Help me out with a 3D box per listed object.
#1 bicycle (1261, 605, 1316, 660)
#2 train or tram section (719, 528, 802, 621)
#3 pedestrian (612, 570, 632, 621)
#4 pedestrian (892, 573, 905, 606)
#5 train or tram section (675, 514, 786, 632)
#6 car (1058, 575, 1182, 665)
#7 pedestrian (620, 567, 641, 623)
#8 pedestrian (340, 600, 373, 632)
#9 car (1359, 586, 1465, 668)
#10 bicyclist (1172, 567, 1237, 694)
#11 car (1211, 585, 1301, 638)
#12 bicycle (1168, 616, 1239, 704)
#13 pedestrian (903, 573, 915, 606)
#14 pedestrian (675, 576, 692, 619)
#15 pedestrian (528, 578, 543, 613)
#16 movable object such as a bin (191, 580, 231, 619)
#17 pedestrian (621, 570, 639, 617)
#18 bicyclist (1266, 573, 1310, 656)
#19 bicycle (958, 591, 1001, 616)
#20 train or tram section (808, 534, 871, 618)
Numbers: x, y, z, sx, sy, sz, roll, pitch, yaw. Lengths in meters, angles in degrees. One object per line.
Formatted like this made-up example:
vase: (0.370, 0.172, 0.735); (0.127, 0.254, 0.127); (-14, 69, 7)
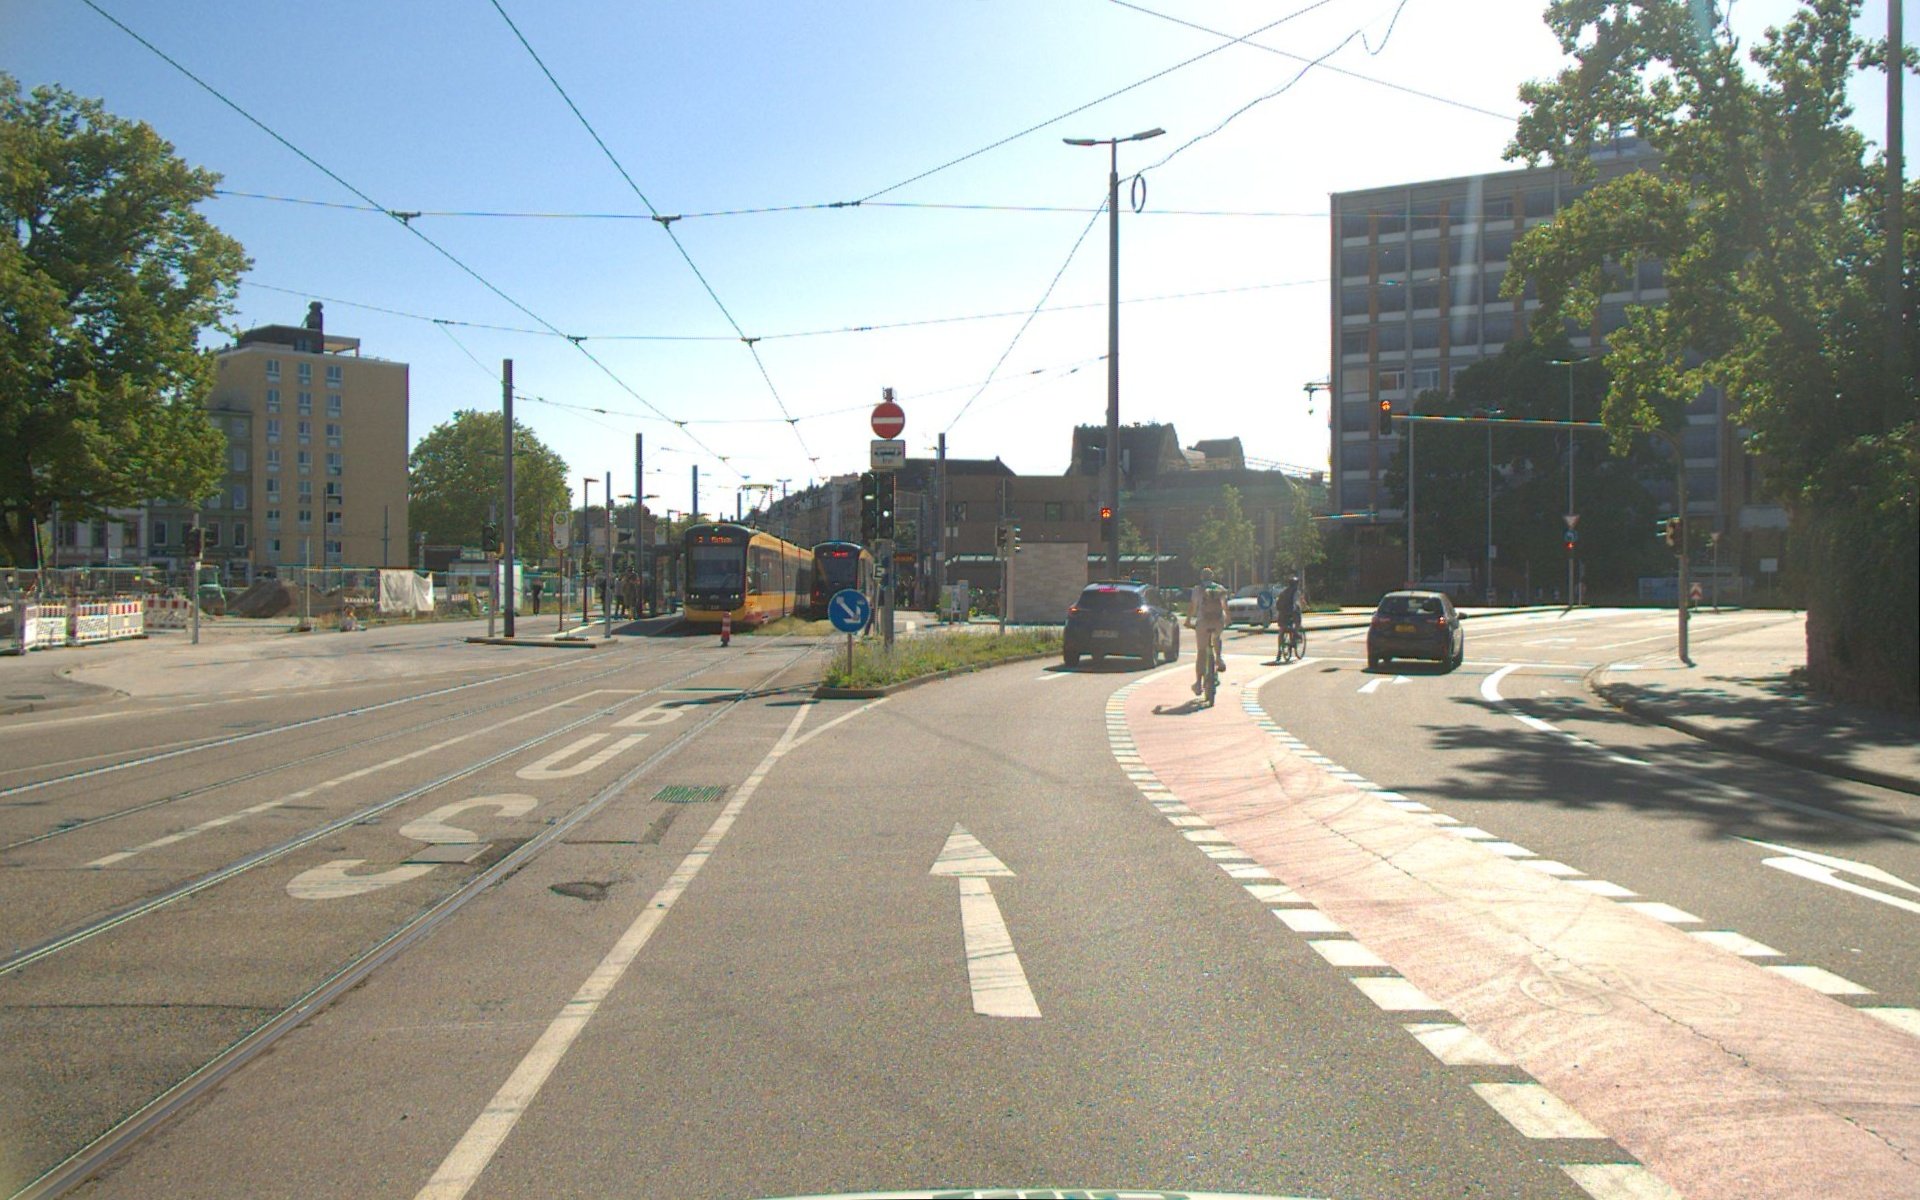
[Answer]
bicycle: (7.075, 0.679, 35.549); (0.690, 1.073, 2.313); (2, 1, 22)
train or tram section: (-8.530, -1.092, 71.983); (2.687, 3.715, 12.537); (0, 1, -3)
pedestrian: (-12.319, -0.176, 60.227); (0.614, 1.859, 0.662); (0, 0, -3)
pedestrian: (-3.713, -0.635, 99.338); (0.649, 1.987, 0.626); (0, 0, -14)
train or tram section: (-7.922, -0.942, 58.839); (2.687, 3.715, 13.778); (0, 1, -3)
car: (3.221, 0.351, 32.655); (1.751, 1.632, 3.715); (1, 1, 16)
pedestrian: (-11.005, -0.161, 55.276); (0.614, 1.859, 0.662); (0, 0, -3)
pedestrian: (-20.429, 0.534, 55.997); (0.879, 1.064, 0.655); (0, 0, -2)
car: (9.353, 0.517, 34.054); (1.752, 1.537, 3.713); (1, 1, 20)
bicyclist: (3.415, 0.410, 23.026); (0.690, 1.704, 1.102); (2, 1, 17)
car: (9.906, 0.380, 55.158); (1.671, 1.672, 3.702); (2, 1, 33)
bicycle: (3.409, 0.807, 23.041); (0.690, 1.124, 1.718); (2, 1, 17)
pedestrian: (-3.081, -0.631, 99.833); (0.649, 1.987, 0.626); (0, 0, -14)
pedestrian: (-11.843, -0.111, 70.836); (0.614, 1.859, 0.662); (0, 0, -3)
pedestrian: (-21.146, -0.218, 82.348); (0.614, 1.727, 0.662); (0, 0, -3)
movable object such as a bin: (-39.979, -0.023, 88.306); (1.893, 2.049, 3.969); (0, 0, -25)
pedestrian: (-13.143, -0.273, 65.979); (0.614, 1.859, 0.662); (0, 0, -3)
bicyclist: (7.021, 0.297, 35.364); (0.690, 1.730, 0.987); (2, 1, 22)
bicycle: (0.881, 0.156, 75.261); (1.896, 1.122, 0.598); (0, 1, -5)
train or tram section: (-5.740, -1.159, 80.594); (2.687, 3.715, 13.778); (0, 1, -3)
